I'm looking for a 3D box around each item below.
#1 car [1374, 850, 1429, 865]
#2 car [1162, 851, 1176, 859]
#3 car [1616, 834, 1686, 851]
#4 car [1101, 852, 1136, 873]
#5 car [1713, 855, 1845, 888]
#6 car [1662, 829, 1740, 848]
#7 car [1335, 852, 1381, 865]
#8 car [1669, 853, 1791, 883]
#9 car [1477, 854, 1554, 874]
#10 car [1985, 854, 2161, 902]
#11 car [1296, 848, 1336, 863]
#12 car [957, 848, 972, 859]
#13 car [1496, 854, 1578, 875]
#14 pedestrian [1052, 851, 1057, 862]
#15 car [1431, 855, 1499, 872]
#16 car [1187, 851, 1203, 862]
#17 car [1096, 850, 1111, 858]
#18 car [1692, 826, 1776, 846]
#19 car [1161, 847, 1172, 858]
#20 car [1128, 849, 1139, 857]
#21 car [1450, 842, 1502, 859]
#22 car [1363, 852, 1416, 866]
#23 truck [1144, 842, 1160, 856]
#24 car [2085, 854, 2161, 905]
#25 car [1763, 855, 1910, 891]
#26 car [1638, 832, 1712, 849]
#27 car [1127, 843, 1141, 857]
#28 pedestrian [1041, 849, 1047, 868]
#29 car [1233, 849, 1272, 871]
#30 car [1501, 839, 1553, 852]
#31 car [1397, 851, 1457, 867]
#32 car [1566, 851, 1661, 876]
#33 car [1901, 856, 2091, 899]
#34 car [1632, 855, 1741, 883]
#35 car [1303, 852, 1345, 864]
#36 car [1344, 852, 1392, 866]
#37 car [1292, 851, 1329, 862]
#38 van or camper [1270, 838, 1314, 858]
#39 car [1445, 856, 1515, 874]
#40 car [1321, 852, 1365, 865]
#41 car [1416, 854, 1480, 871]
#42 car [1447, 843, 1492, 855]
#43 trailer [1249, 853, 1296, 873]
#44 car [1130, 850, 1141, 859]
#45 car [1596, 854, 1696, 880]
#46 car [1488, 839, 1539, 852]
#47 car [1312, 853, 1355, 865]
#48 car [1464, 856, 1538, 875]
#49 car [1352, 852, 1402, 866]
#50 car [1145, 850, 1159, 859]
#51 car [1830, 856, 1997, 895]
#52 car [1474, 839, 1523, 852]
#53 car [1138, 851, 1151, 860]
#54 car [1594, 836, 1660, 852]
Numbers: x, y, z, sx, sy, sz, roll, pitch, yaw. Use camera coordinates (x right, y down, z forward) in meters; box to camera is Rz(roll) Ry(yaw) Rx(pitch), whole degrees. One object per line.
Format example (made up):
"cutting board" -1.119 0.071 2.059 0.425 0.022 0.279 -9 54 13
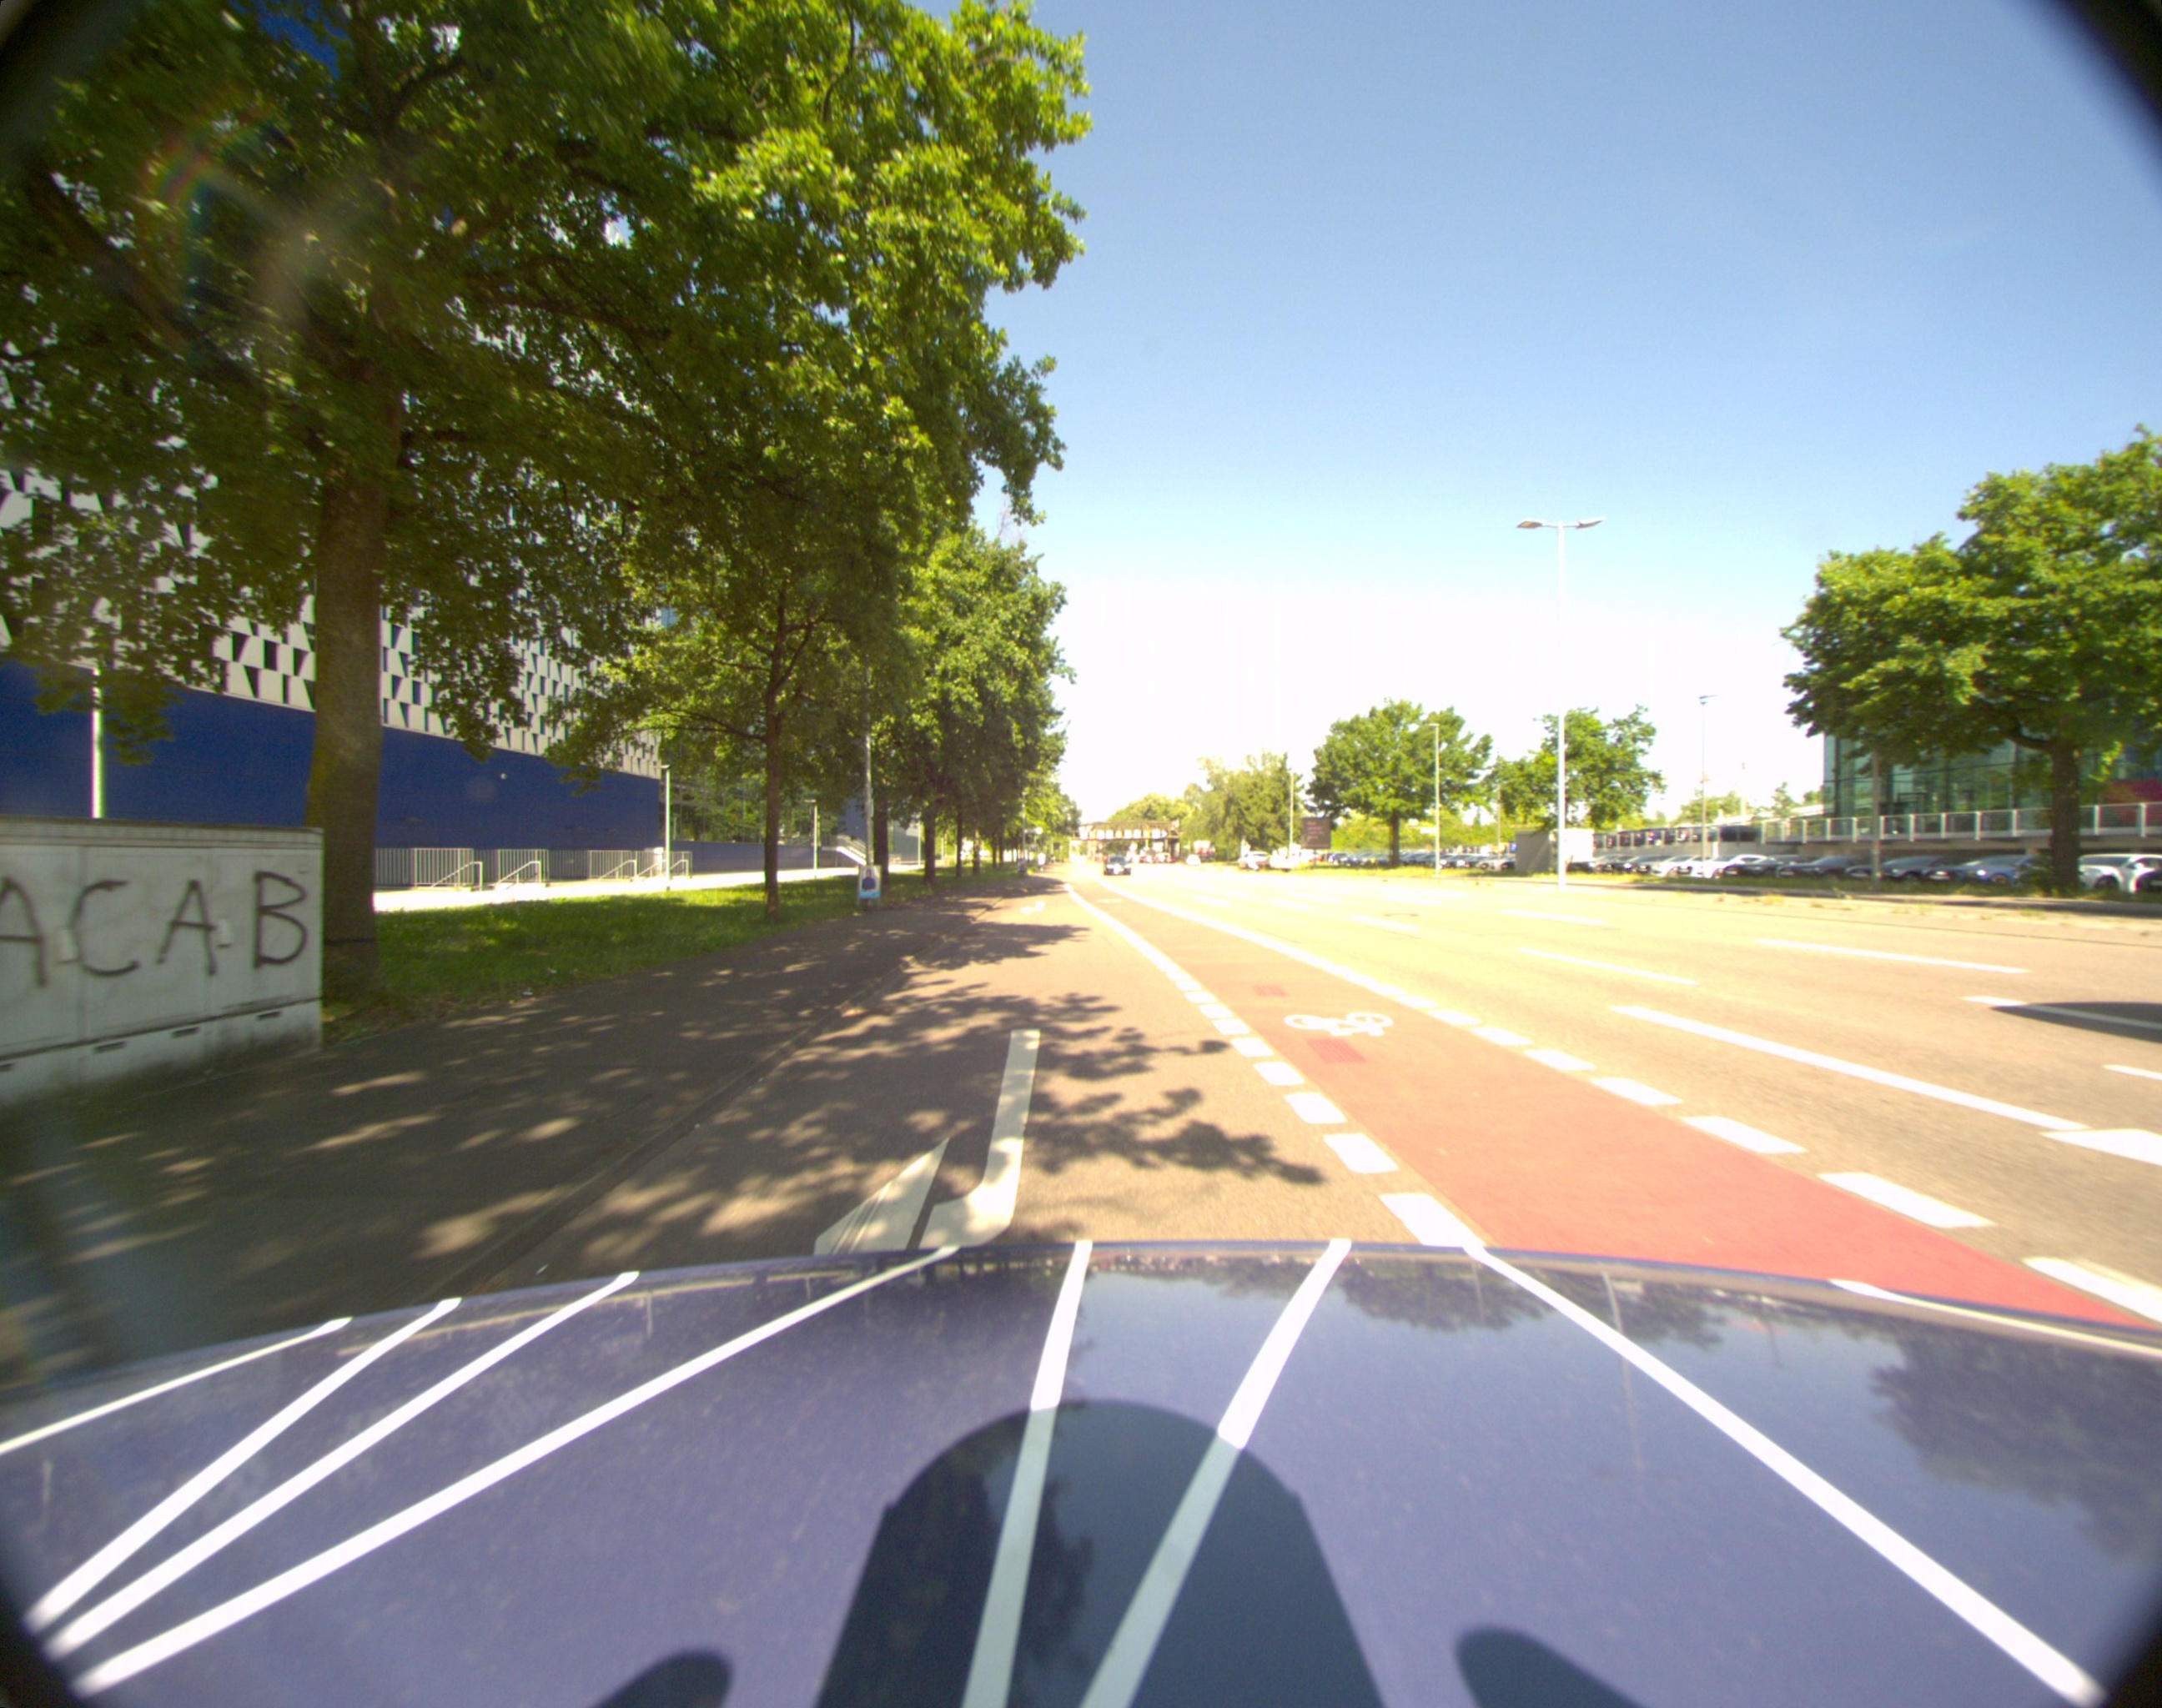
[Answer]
"car" 30.061 0.328 71.376 4.276 1.343 1.954 0 0 1
"car" 16.245 0.217 140.246 1.999 1.405 4.680 0 0 -1
"car" 46.609 -0.950 62.231 4.277 1.343 1.954 0 0 0
"car" 2.743 0.576 56.400 1.911 1.511 4.371 0 0 -6
"car" 30.376 0.754 33.149 3.997 1.368 1.924 0 0 -1
"car" 46.617 -1.157 57.200 4.277 1.343 1.954 0 0 0
"car" 29.745 0.511 81.644 4.276 1.343 1.954 0 0 1
"car" 30.453 0.628 35.753 4.052 1.368 2.025 0 0 -1
"car" 30.343 0.705 53.151 4.276 1.343 1.954 0 0 1
"car" 30.272 0.681 22.806 3.997 1.368 1.924 0 0 -1
"car" 28.594 0.164 92.561 4.276 1.873 1.954 0 0 1
"car" -20.100 -0.051 131.305 1.910 1.818 4.180 0 0 2
"car" 30.311 0.670 50.601 4.276 1.343 1.954 0 0 1
"pedestrian" -3.862 0.331 109.749 0.648 1.594 0.846 0 1 0
"car" 30.107 0.740 59.656 4.276 1.343 1.954 0 0 1
"car" 16.781 0.344 112.192 1.658 1.455 3.549 2 0 -4
"car" 6.313 -0.012 212.105 3.998 2.001 2.000 -2 -1 -4
"car" 46.681 -1.266 54.377 4.277 1.343 1.954 0 0 0
"car" 16.682 -0.266 148.496 1.998 2.002 5.348 1 0 4
"car" 10.785 -0.187 156.758 1.773 1.485 4.178 2 -1 -1
"car" 40.000 -0.345 77.007 4.276 1.633 1.954 0 0 1
"car" 29.970 0.465 73.903 4.276 1.343 1.954 0 0 1
"truck" 15.855 -1.131 170.051 2.348 3.070 7.067 0 0 -4
"car" 30.526 0.685 20.644 3.997 1.368 1.924 0 0 -1
"car" 30.312 0.734 30.569 3.997 1.368 1.924 0 0 -1
"car" 46.689 -1.046 59.779 4.277 1.343 1.954 0 0 0
"car" 11.465 -0.889 164.613 1.999 2.788 6.936 2 0 -2
"pedestrian" -3.500 0.400 71.570 0.536 1.831 0.727 0 1 -1
"car" 14.861 0.482 66.038 1.999 1.822 4.935 0 0 -3
"car" 45.951 -0.874 78.343 4.277 1.343 1.954 0 0 0
"car" 30.134 0.407 66.247 4.276 1.343 1.954 0 0 1
"car" 30.298 0.544 43.302 3.997 1.368 2.000 0 0 -1
"car" 30.224 0.752 25.198 3.997 1.368 1.924 0 0 -1
"car" 30.372 0.751 38.183 3.997 1.368 1.865 0 0 -1
"car" 28.796 0.461 90.109 4.276 1.495 1.954 0 0 1
"car" 29.844 0.521 79.072 4.276 1.343 1.954 0 0 1
"car" 28.646 0.313 94.917 4.097 1.286 1.744 0 0 1
"van or camper" 28.827 -0.815 104.073 5.393 2.456 2.000 -2 -1 -3
"car" 30.156 0.822 57.511 4.276 1.343 1.954 0 0 1
"car" 28.936 0.490 84.001 4.276 1.373 1.954 0 0 1
"car" 29.815 0.655 61.881 4.276 1.343 1.954 0 0 1
"car" 45.182 -0.606 88.399 4.277 1.343 1.954 0 0 0
"trailer" 15.177 0.681 60.641 1.999 1.444 5.770 0 0 -3
"car" 10.688 0.111 148.790 1.647 1.485 3.829 2 -1 -2
"car" 30.264 0.677 40.798 3.997 1.368 1.865 0 0 -1
"car" 45.940 -0.869 80.759 4.277 1.343 1.954 0 0 0
"car" 28.916 0.548 87.151 4.276 1.320 1.954 0 0 1
"car" 30.478 0.823 55.252 4.276 1.343 1.954 0 0 1
"car" 29.796 0.477 76.505 4.276 1.343 1.954 0 0 1
"car" 11.722 0.047 125.333 1.788 1.406 3.999 2 0 -1
"car" 30.292 0.761 27.748 3.997 1.368 1.924 0 0 -1
"car" 45.822 -0.938 83.491 4.277 1.343 1.954 0 0 0
"car" 11.311 0.244 135.146 1.846 1.455 4.999 2 0 -1
"car" 46.646 -0.854 64.945 4.277 1.343 1.954 0 0 0
